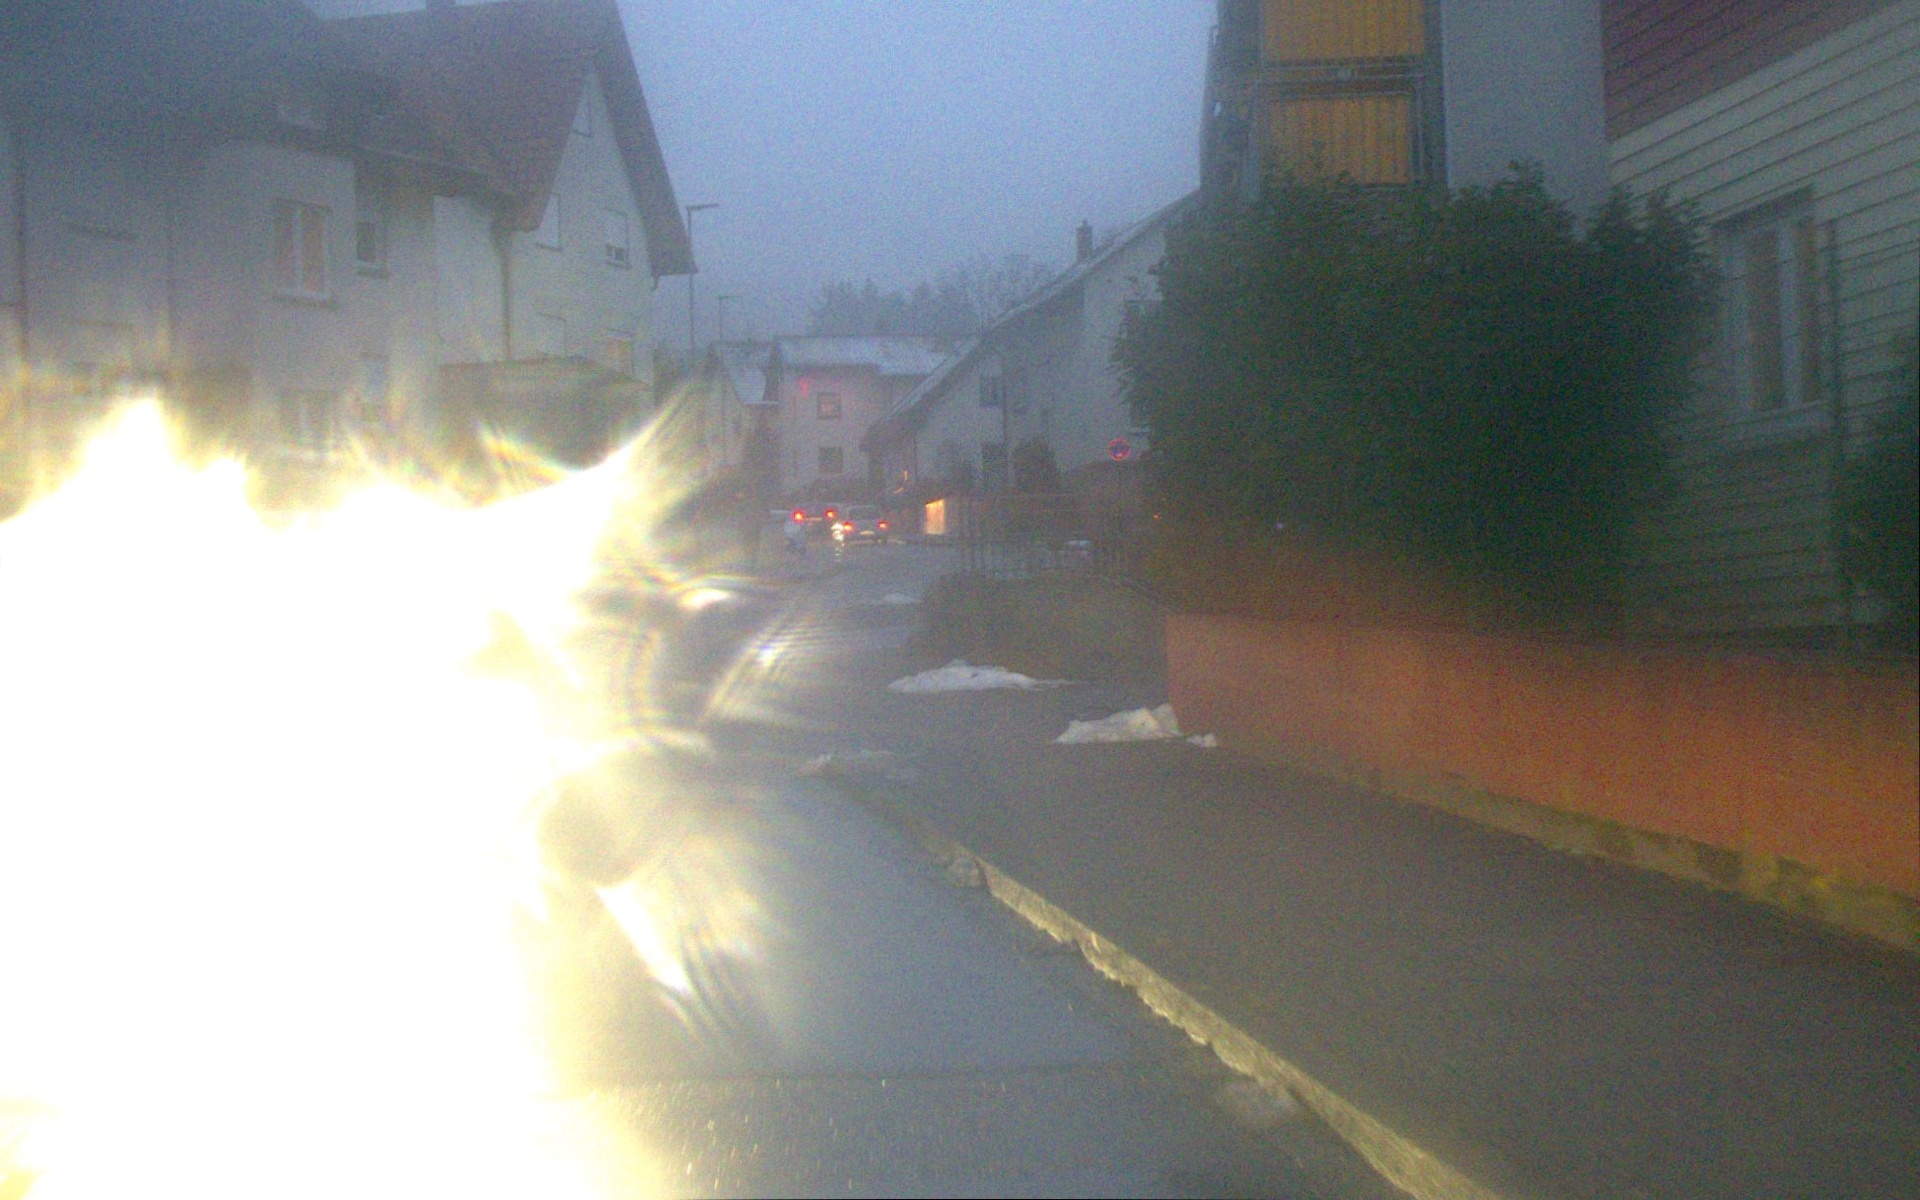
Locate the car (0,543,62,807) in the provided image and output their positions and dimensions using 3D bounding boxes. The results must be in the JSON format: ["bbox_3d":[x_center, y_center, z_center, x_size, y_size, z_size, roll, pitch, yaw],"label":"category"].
[{"bbox_3d":[-6.375,0.409,19.919,1.823,1.435,4.069,0,1,-8],"label":"car"}]

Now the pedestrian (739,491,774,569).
[{"bbox_3d":[-4.521,-1.553,76.416,0.598,1.727,0.811,0,0,12],"label":"pedestrian"}]

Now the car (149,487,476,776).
[{"bbox_3d":[-3.938,0.154,20.909,1.757,1.575,4.001,0,0,-11],"label":"car"}]

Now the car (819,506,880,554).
[{"bbox_3d":[-3.951,-2.508,123.571,1.993,1.612,4.000,1,0,1],"label":"car"}]

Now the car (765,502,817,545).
[{"bbox_3d":[-6.869,-3.094,139.537,1.993,1.612,4.001,1,0,-4],"label":"car"}]

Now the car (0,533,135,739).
[{"bbox_3d":[-7.229,0.212,25.599,1.748,1.384,4.147,0,2,-8],"label":"car"}]
